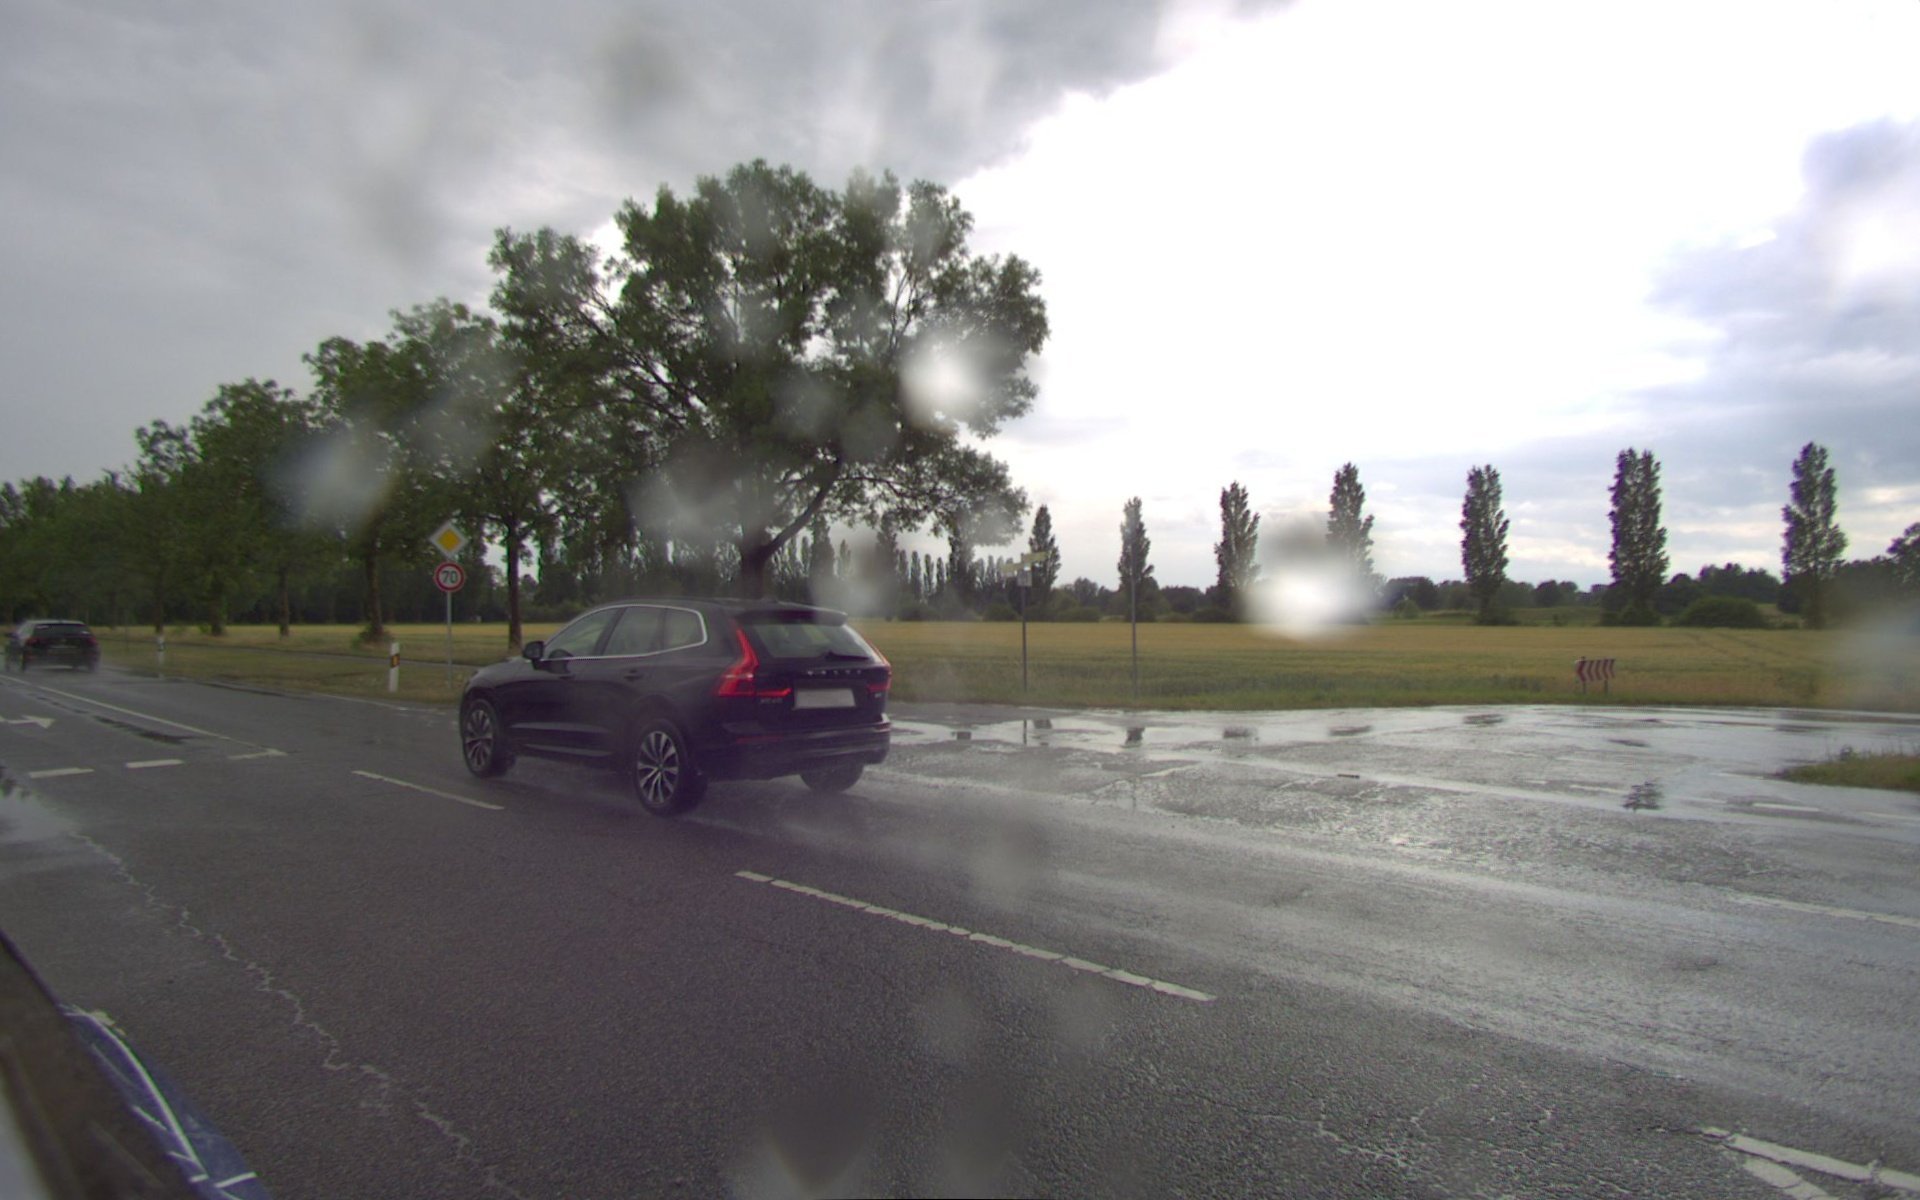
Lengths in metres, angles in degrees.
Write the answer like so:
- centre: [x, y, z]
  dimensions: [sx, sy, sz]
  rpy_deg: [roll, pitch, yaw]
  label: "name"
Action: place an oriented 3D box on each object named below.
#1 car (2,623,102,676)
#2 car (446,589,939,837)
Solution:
- centre: [-25.781, 1.365, 28.696]
  dimensions: [3.812, 1.416, 1.694]
  rpy_deg: [-1, -3, 42]
  label: "car"
- centre: [-2.469, 0.798, 8.717]
  dimensions: [4.440, 1.592, 1.924]
  rpy_deg: [-1, -3, 41]
  label: "car"
